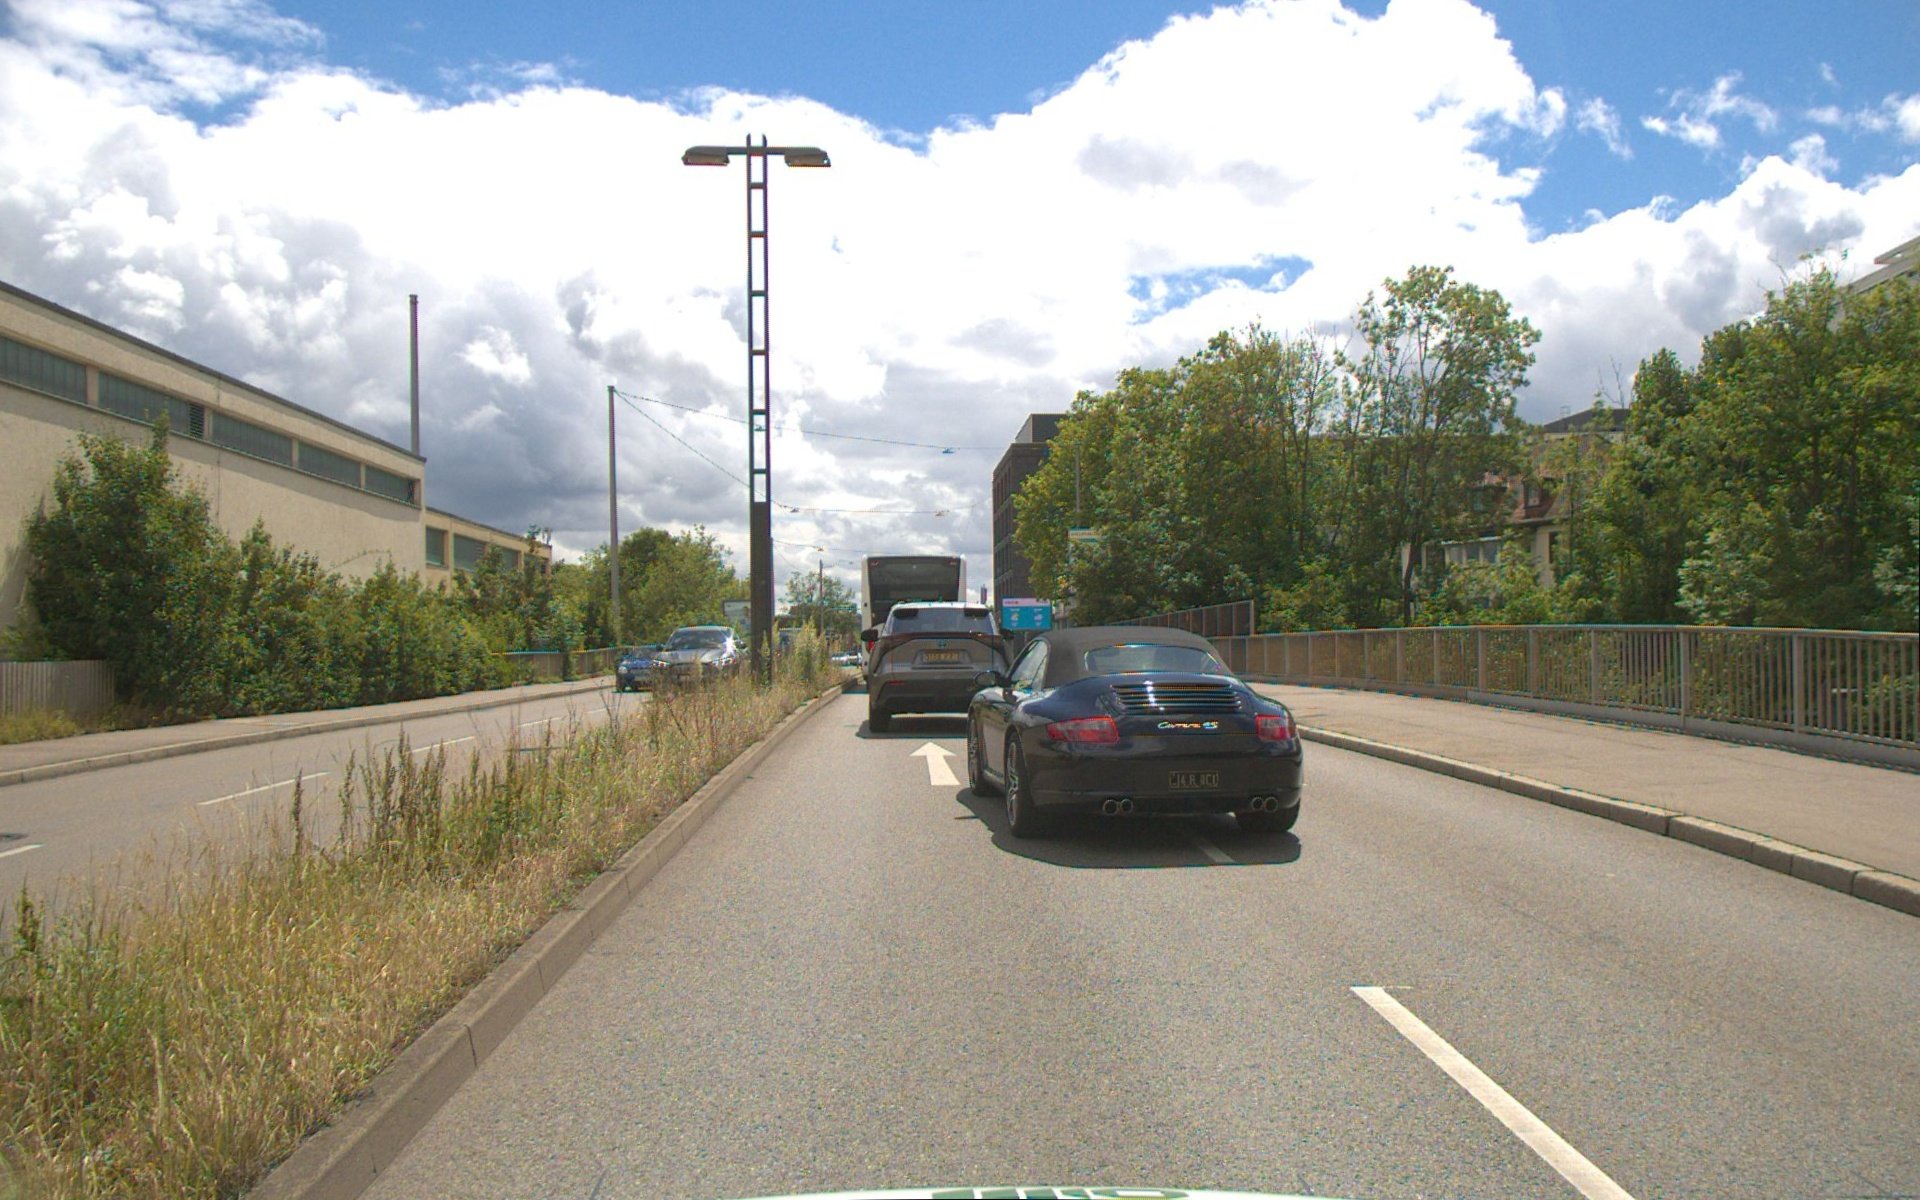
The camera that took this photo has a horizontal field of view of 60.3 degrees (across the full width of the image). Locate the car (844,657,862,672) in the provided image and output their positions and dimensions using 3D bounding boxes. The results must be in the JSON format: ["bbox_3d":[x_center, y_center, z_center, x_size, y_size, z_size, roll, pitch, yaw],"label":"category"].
[{"bbox_3d":[-11.322,6.808,174.712,1.774,1.588,4.204,0,-2,-3],"label":"car"}]

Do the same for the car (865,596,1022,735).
[{"bbox_3d":[-0.224,0.779,21.704,1.841,1.622,4.228,1,0,-1],"label":"car"}]

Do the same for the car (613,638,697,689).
[{"bbox_3d":[-8.703,1.784,47.489,1.719,1.298,3.998,-3,-1,-2],"label":"car"}]

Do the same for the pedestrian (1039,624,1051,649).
[{"bbox_3d":[5.850,2.507,114.251,0.666,1.726,0.598,-2,-2,23],"label":"pedestrian"}]

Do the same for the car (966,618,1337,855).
[{"bbox_3d":[1.115,0.795,11.496,1.687,1.297,4.082,0,0,-7],"label":"car"}]

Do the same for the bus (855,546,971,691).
[{"bbox_3d":[-1.193,0.314,44.360,2.634,3.312,12.056,1,1,-1],"label":"bus"}]

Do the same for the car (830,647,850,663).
[{"bbox_3d":[-11.167,5.096,153.998,1.604,1.387,4.192,-1,-2,-2],"label":"car"}]

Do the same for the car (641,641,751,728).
[{"bbox_3d":[-5.840,1.834,37.097,1.840,1.655,4.442,-2,0,-2],"label":"car"}]
